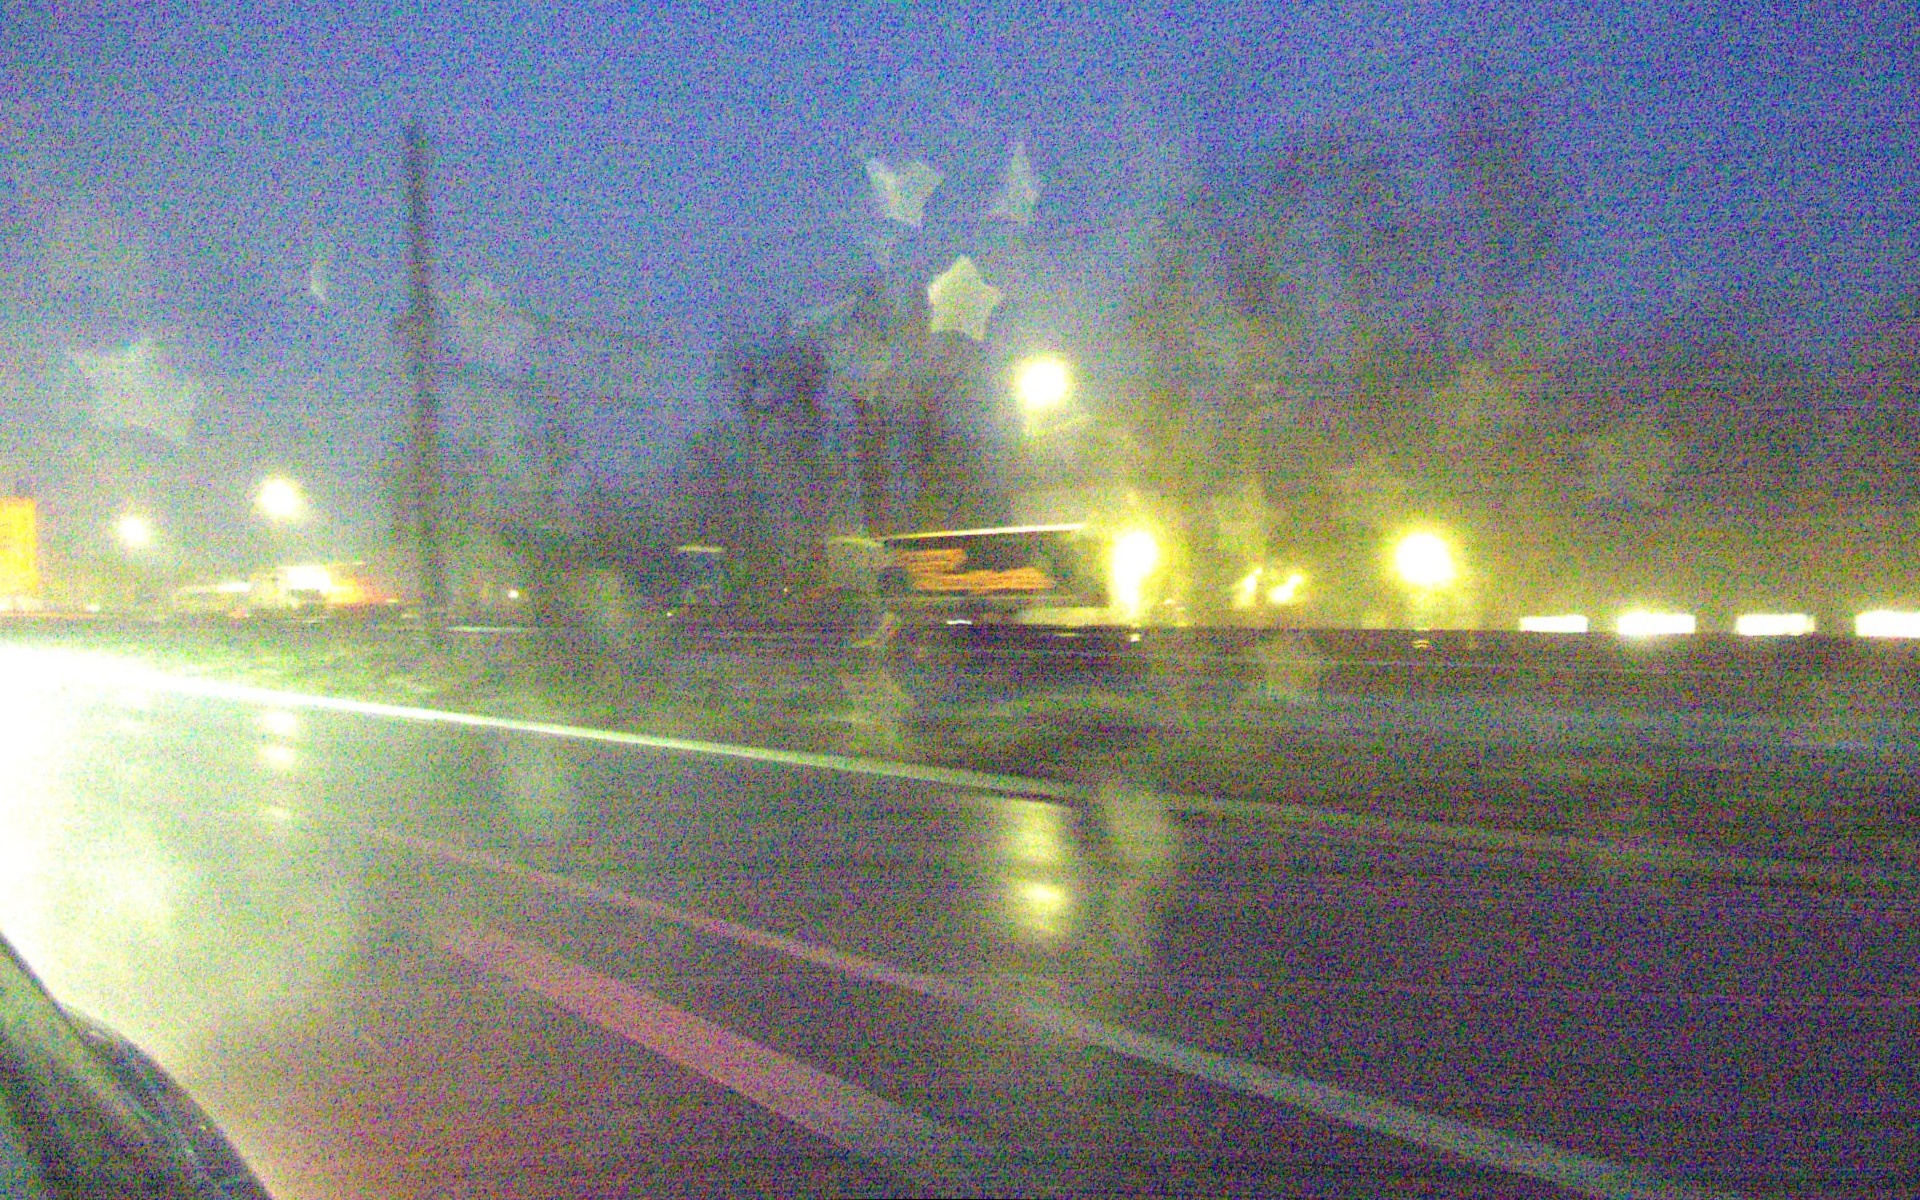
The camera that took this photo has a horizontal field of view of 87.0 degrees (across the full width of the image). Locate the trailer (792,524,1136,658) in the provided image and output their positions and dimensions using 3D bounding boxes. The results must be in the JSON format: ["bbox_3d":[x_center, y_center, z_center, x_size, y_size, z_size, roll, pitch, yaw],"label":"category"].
[{"bbox_3d":[-0.267,-0.412,40.902,14.221,4.643,3.936,0,3,36],"label":"trailer"}]

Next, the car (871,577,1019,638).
[{"bbox_3d":[-0.496,0.249,30.658,4.209,1.706,1.771,-2,1,35],"label":"car"}]

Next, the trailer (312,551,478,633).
[{"bbox_3d":[-38.948,-0.581,69.380,14.807,5.049,3.936,0,3,36],"label":"trailer"}]

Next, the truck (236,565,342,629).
[{"bbox_3d":[-52.768,-0.294,79.440,10.193,4.643,3.409,0,3,36],"label":"truck"}]

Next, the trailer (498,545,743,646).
[{"bbox_3d":[-18.299,-0.294,53.464,15.486,4.643,3.936,0,3,36],"label":"trailer"}]
